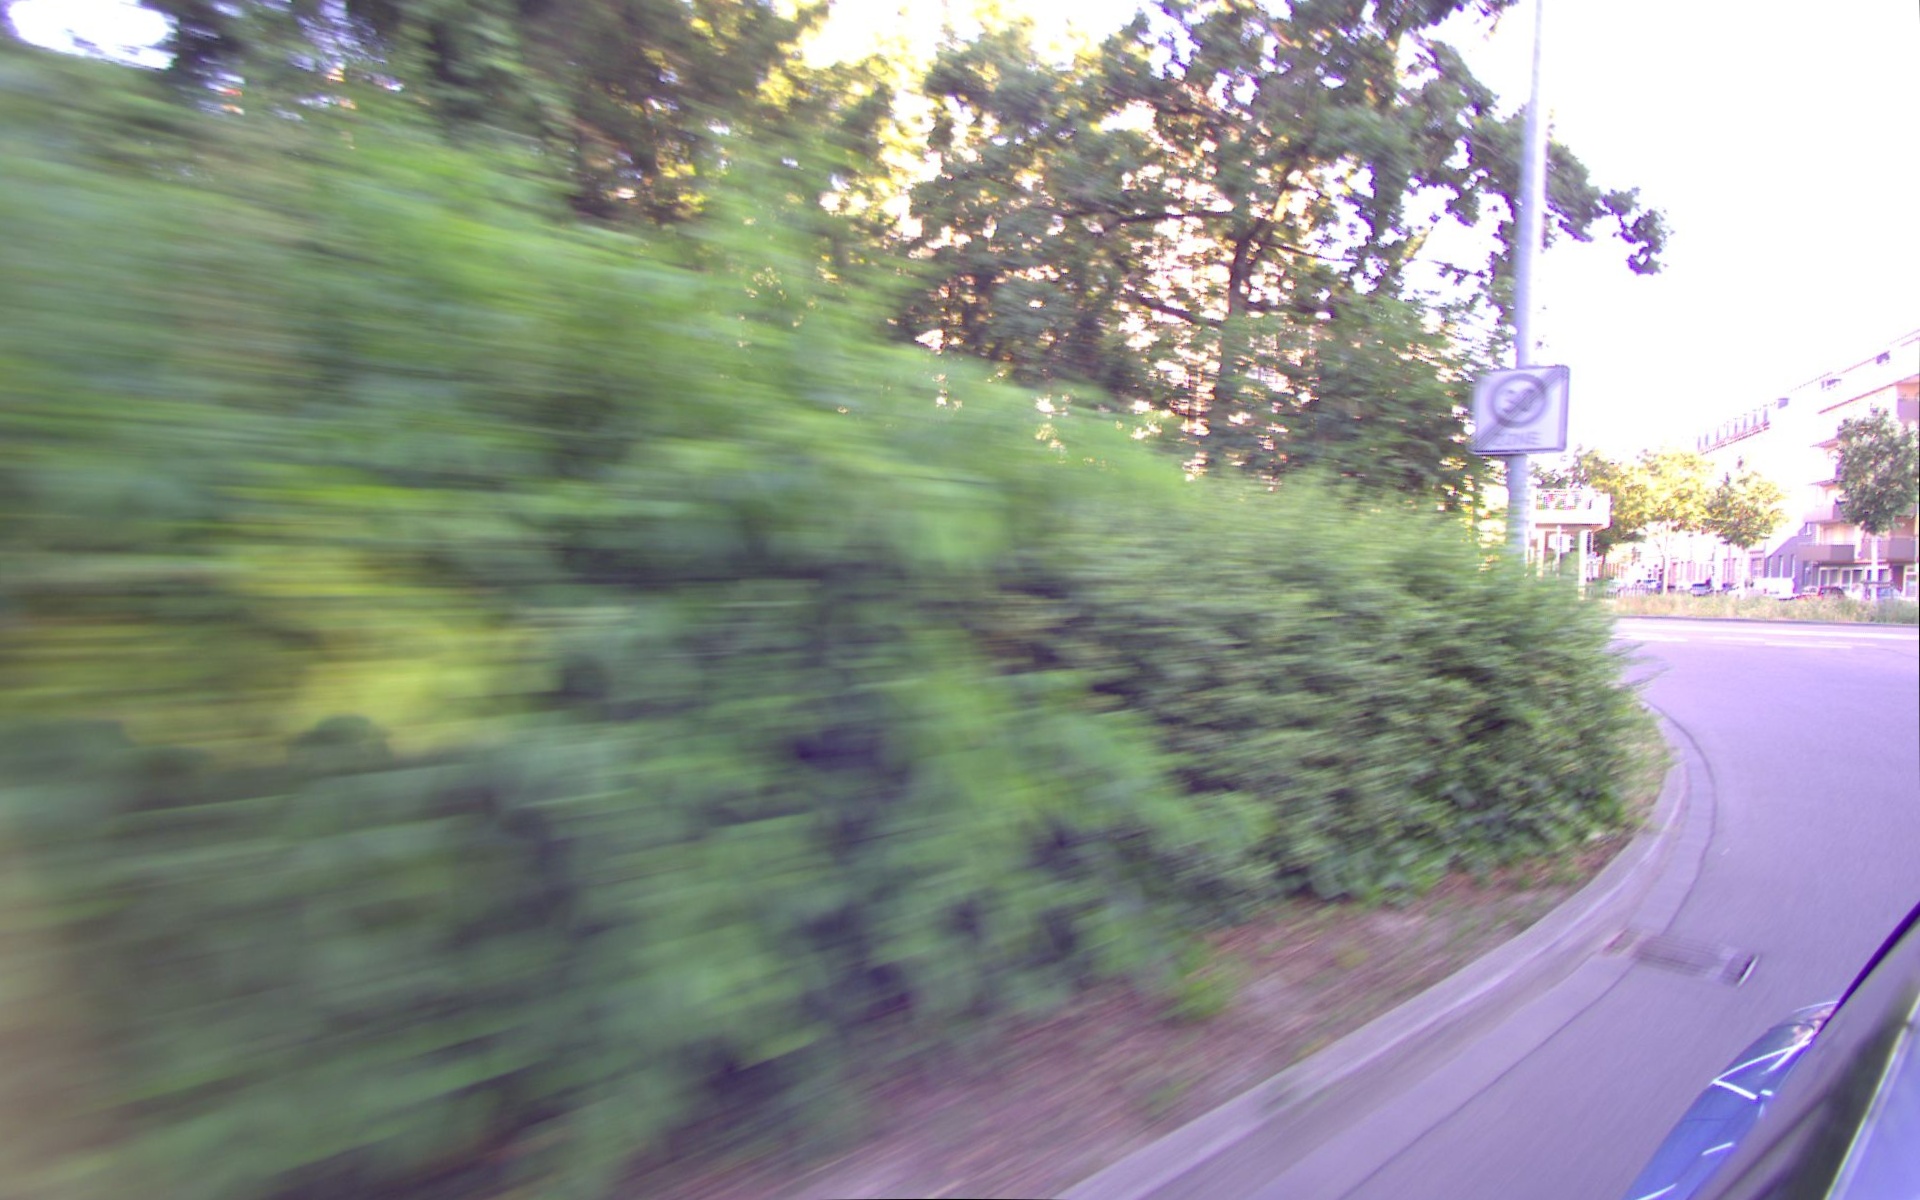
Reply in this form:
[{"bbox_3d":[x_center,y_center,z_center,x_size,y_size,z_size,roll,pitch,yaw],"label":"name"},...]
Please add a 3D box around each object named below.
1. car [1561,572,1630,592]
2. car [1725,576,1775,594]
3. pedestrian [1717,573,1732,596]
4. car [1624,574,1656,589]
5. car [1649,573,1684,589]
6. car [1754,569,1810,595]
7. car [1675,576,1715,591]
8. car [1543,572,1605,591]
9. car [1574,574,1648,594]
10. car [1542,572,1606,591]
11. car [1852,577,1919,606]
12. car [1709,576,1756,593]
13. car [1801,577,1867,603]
[{"bbox_3d":[53.140,-1.532,84.679,4.594,1.579,1.984,2,2,24],"label":"car"},{"bbox_3d":[61.116,-1.178,78.381,1.977,1.259,3.971,2,2,22],"label":"car"},{"bbox_3d":[70.645,-1.435,93.542,0.882,2.038,0.765,2,2,22],"label":"pedestrian"},{"bbox_3d":[72.852,-2.022,108.494,1.977,1.549,3.971,2,2,22],"label":"car"},{"bbox_3d":[70.488,-1.921,101.074,1.977,1.549,3.971,2,2,22],"label":"car"},{"bbox_3d":[58.995,-1.333,72.705,1.977,1.771,3.971,2,2,22],"label":"car"},{"bbox_3d":[66.316,-1.505,91.404,1.977,1.259,3.971,2,2,22],"label":"car"},{"bbox_3d":[56.363,-1.737,93.033,4.594,1.579,1.984,2,2,24],"label":"car"},{"bbox_3d":[51.254,-1.295,79.835,4.594,1.415,1.984,2,2,24],"label":"car"},{"bbox_3d":[54.974,-1.655,90.726,4.594,1.579,1.984,2,2,24],"label":"car"},{"bbox_3d":[52.658,-0.526,57.262,1.977,1.504,3.971,2,2,22],"label":"car"},{"bbox_3d":[62.689,-1.254,82.220,1.977,1.259,3.971,2,2,22],"label":"car"},{"bbox_3d":[55.922,-0.677,64.842,1.977,1.504,3.971,2,2,22],"label":"car"}]
